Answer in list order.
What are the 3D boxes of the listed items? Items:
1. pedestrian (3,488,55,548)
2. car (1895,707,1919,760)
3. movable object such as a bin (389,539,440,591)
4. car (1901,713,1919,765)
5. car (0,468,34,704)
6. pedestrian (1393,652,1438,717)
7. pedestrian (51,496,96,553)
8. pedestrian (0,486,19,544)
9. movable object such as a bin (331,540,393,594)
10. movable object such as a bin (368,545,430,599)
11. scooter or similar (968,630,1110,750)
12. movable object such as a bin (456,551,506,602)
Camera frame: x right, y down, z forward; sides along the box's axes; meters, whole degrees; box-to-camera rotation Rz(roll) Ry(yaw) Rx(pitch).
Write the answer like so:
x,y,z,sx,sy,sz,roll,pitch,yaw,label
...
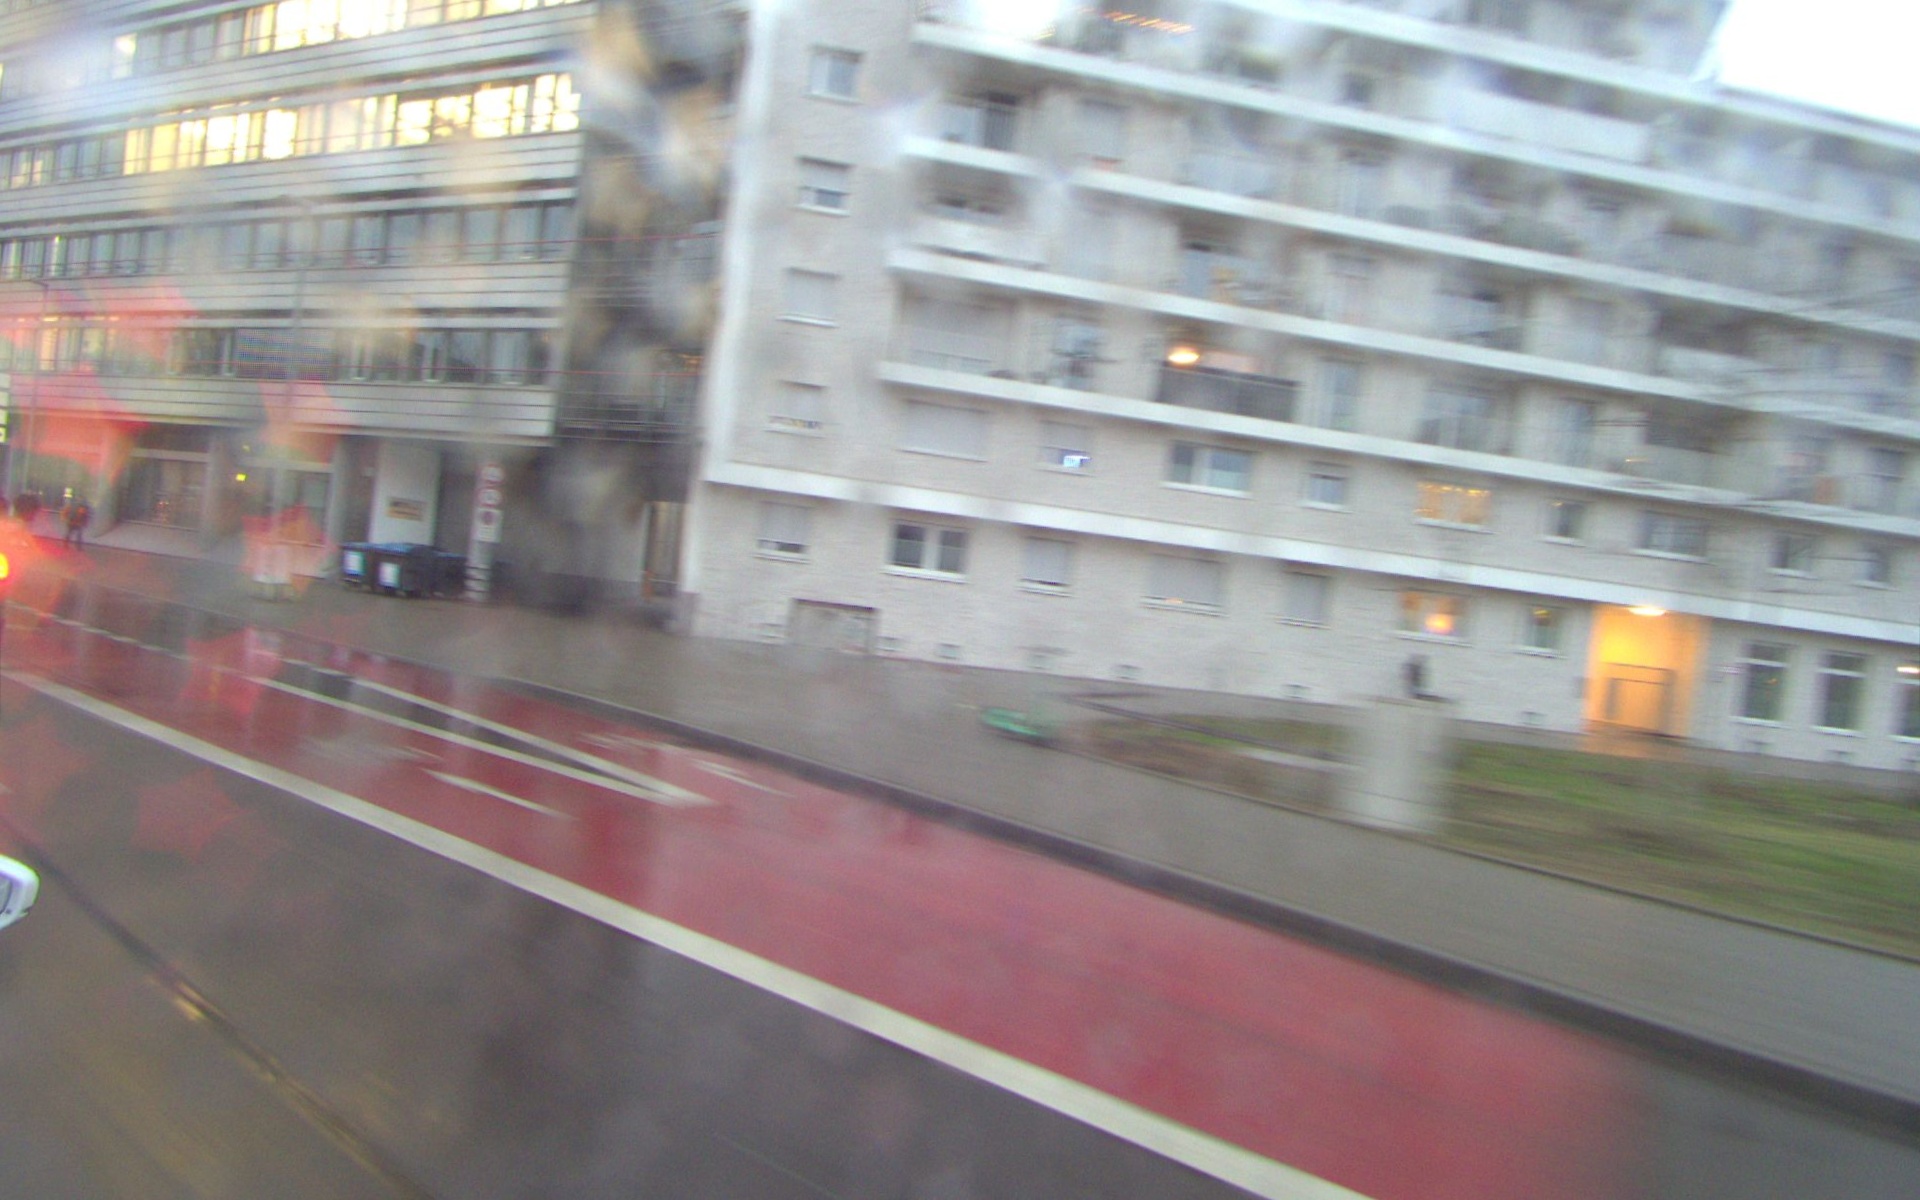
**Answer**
x,y,z,sx,sy,sz,roll,pitch,yaw,label
-28.920,-2.548,31.248,1.051,1.706,0.794,7,0,31,pedestrian
44.279,6.175,44.354,4.583,2.216,1.996,7,0,-11,car
-16.064,-1.035,29.639,1.060,1.401,0.730,6,2,21,movable object such as a bin
38.286,5.537,38.117,1.906,1.966,4.599,7,0,18,car
-9.339,-0.350,8.153,3.936,1.800,1.676,6,-1,34,car
12.418,2.293,27.412,0.625,1.653,0.716,6,1,-30,pedestrian
-28.134,-2.396,31.937,0.887,1.645,0.727,7,0,31,pedestrian
-29.144,-2.589,30.551,0.732,1.703,0.531,7,1,31,pedestrian
-16.356,-0.897,27.511,1.147,1.311,0.846,6,2,21,movable object such as a bin
-15.082,-0.747,27.051,1.147,1.311,0.846,6,2,21,movable object such as a bin
0.931,1.052,12.103,1.536,1.242,0.666,5,0,43,scooter or similar
-13.540,-0.665,28.448,0.946,1.322,0.730,6,2,21,movable object such as a bin
